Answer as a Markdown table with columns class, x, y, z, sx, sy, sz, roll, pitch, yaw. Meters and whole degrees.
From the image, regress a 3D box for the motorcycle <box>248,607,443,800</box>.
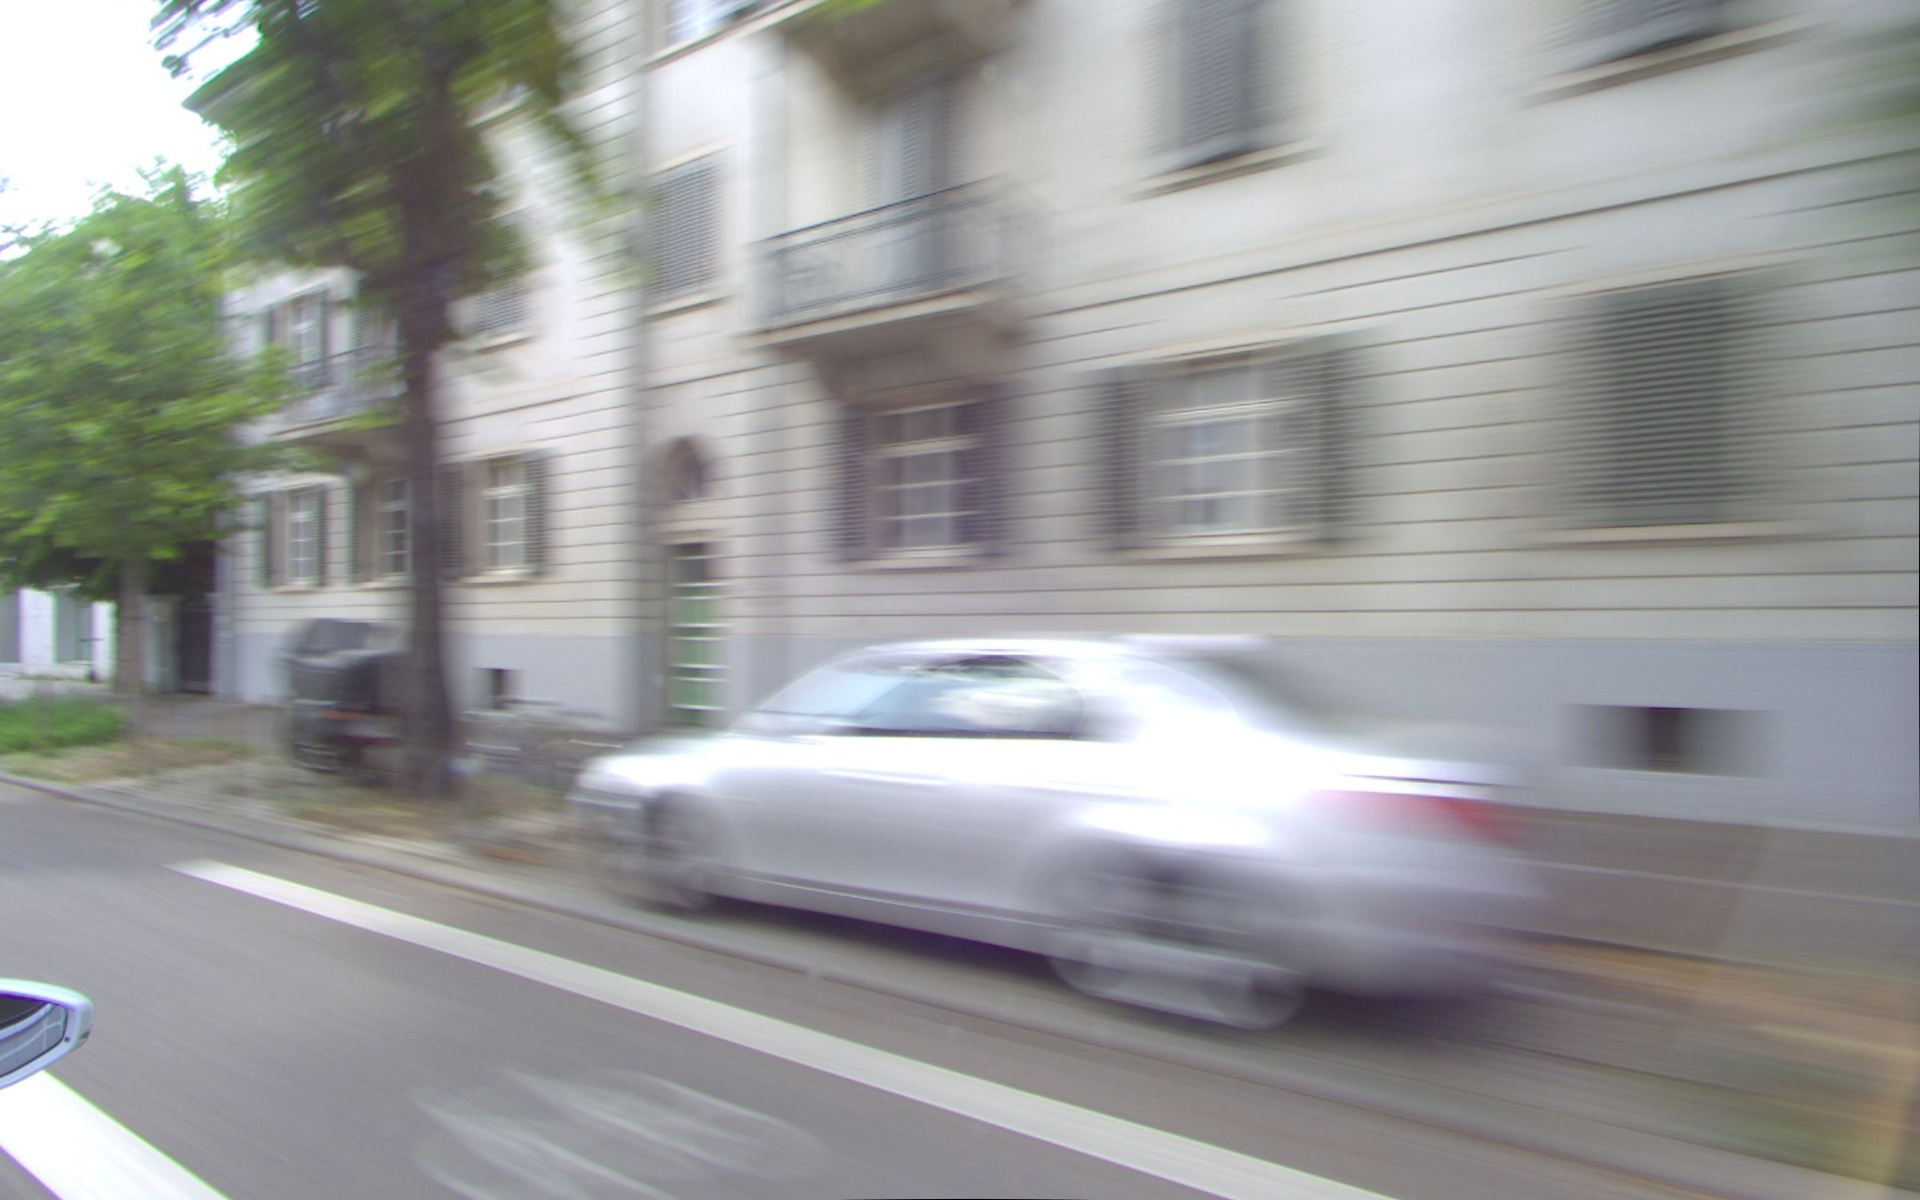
| class | x | y | z | sx | sy | sz | roll | pitch | yaw |
| --- | --- | --- | --- | --- | --- | --- | --- | --- | --- |
| motorcycle | -5.760 | 0.871 | 9.307 | 2.415 | 1.561 | 0.975 | -1 | -2 | 44 |

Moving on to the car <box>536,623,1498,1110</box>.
| class | x | y | z | sx | sy | sz | roll | pitch | yaw |
| --- | --- | --- | --- | --- | --- | --- | --- | --- | --- |
| car | 0.036 | 0.887 | 5.141 | 4.720 | 1.518 | 1.704 | -1 | -1 | 32 |

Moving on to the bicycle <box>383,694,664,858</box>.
| class | x | y | z | sx | sy | sz | roll | pitch | yaw |
| --- | --- | --- | --- | --- | --- | --- | --- | --- | --- |
| bicycle | -3.086 | 1.200 | 7.248 | 0.682 | 0.914 | 1.772 | 0 | -1 | 35 |

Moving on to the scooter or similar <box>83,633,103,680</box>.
| class | x | y | z | sx | sy | sz | roll | pitch | yaw |
| --- | --- | --- | --- | --- | --- | --- | --- | --- | --- |
| scooter or similar | -22.541 | 1.466 | 26.033 | 0.320 | 1.196 | 1.137 | 1 | -2 | -44 |
